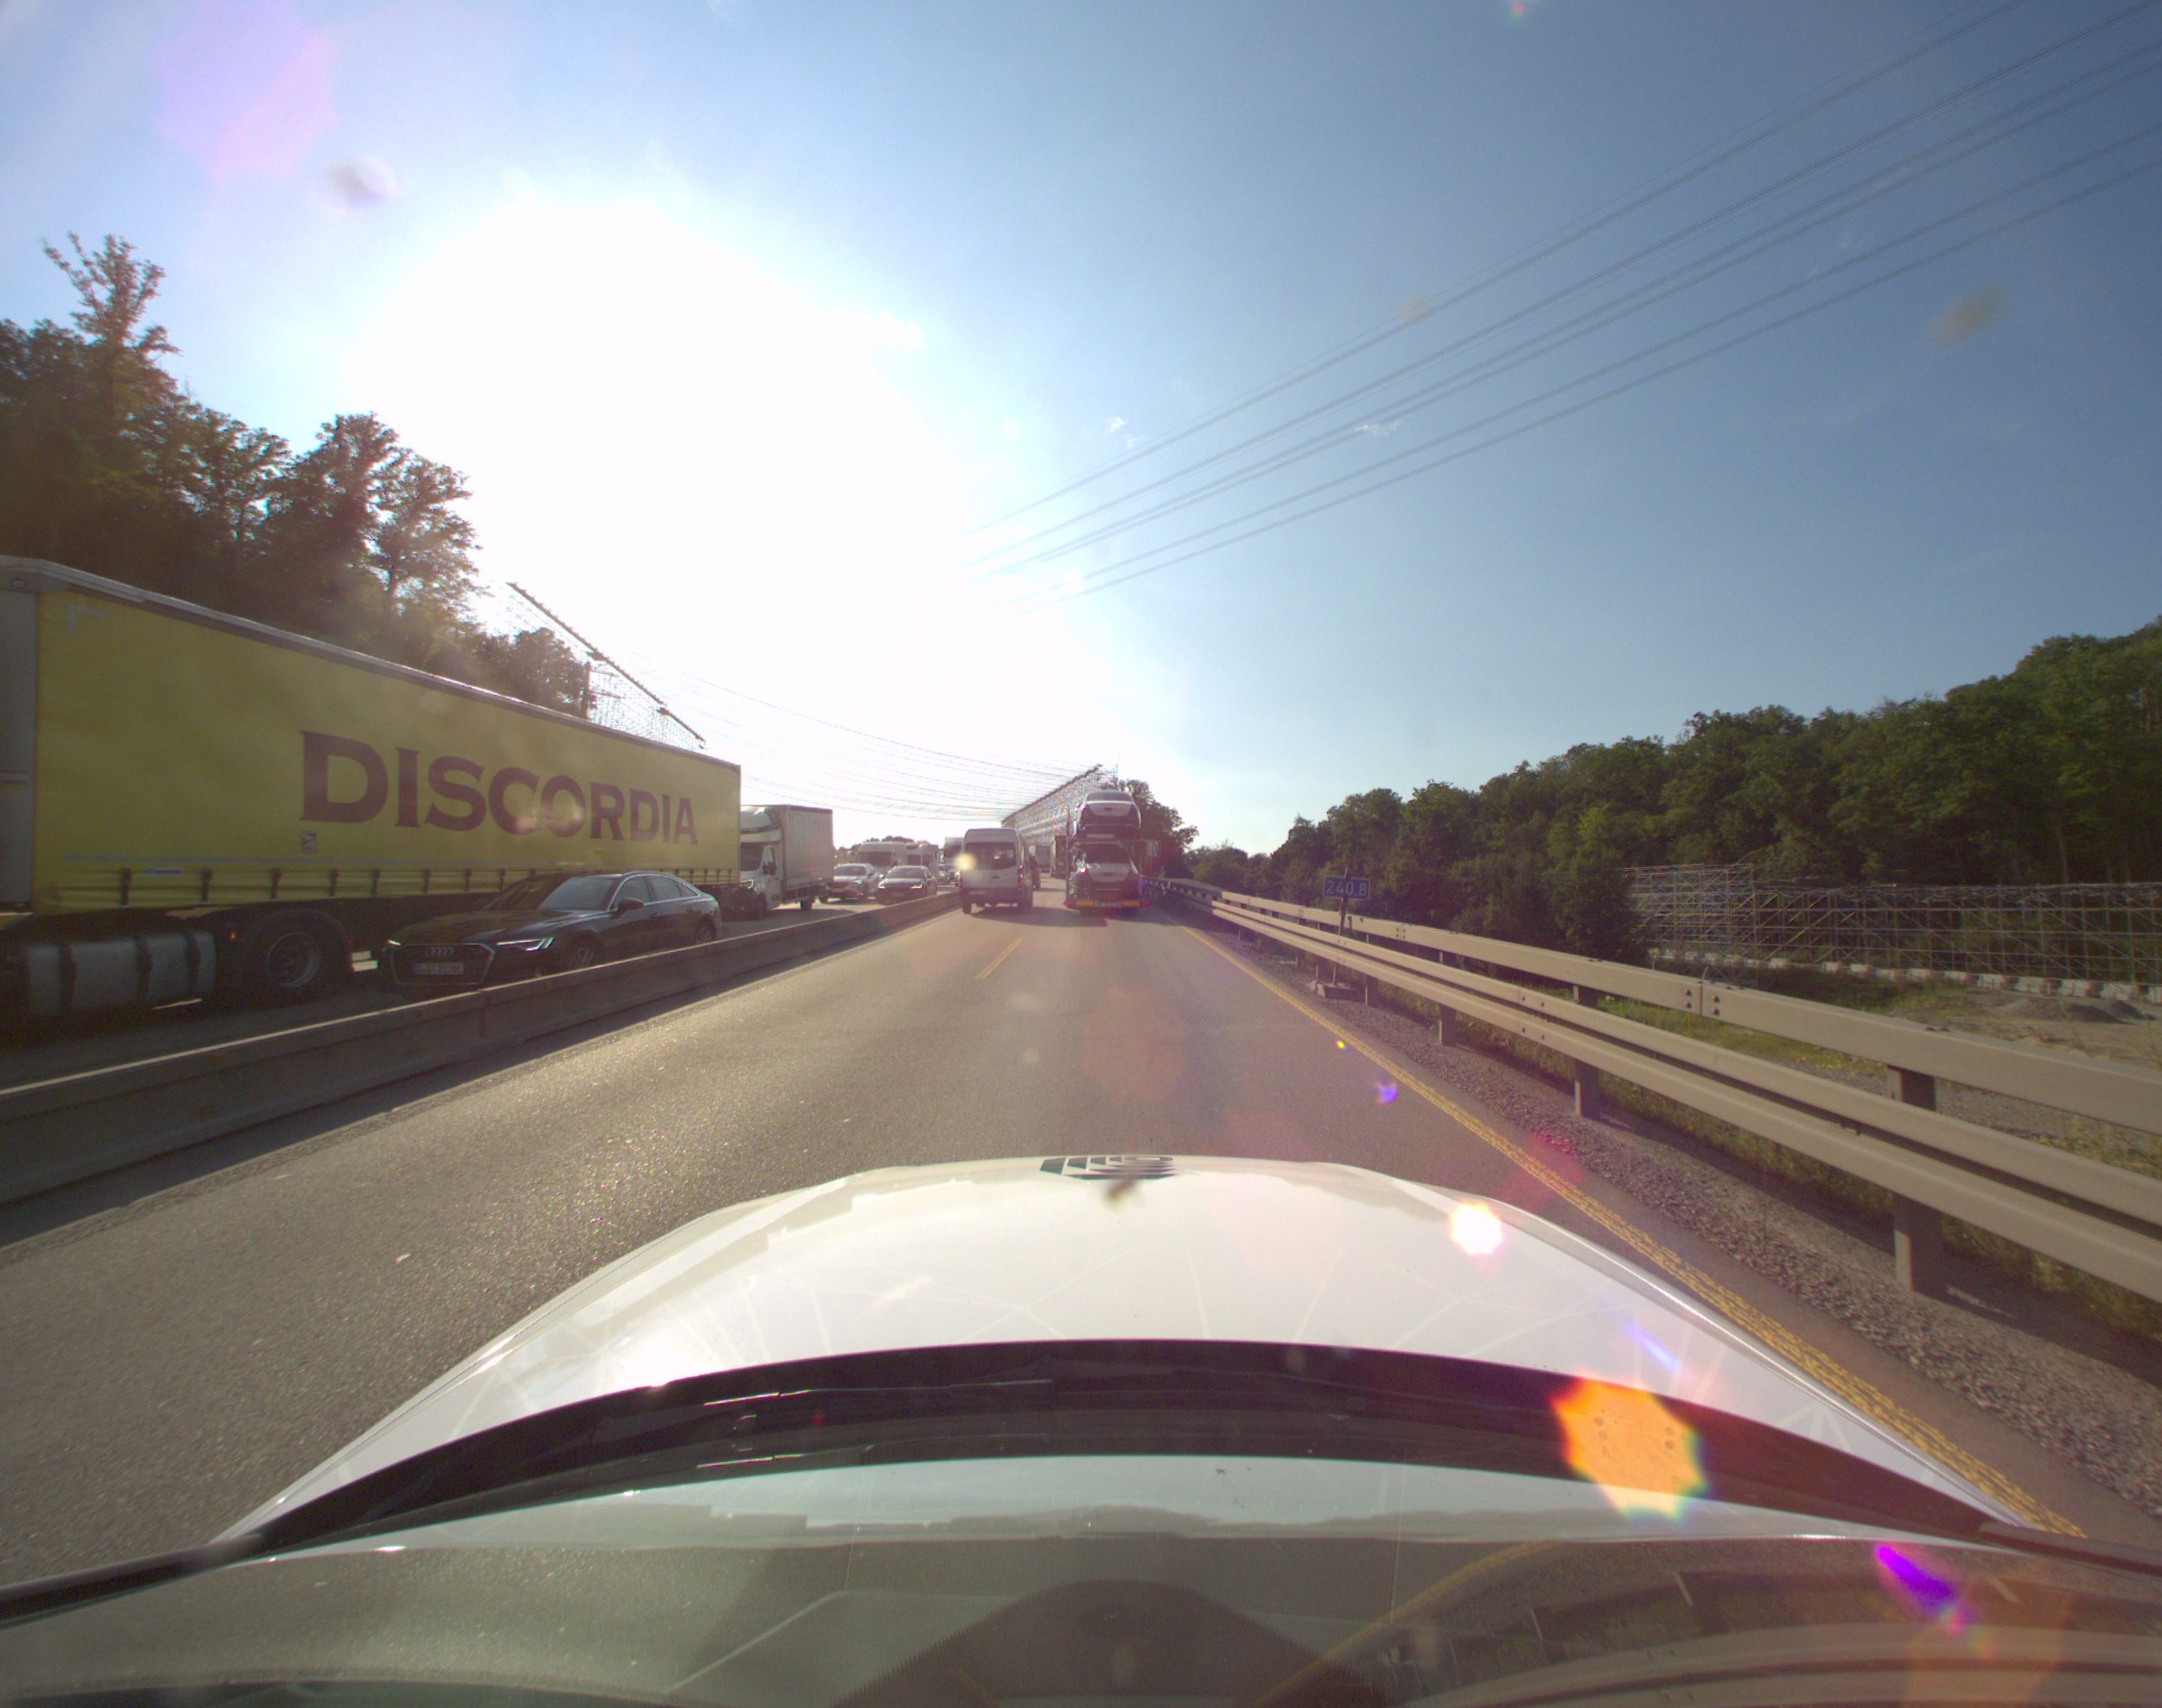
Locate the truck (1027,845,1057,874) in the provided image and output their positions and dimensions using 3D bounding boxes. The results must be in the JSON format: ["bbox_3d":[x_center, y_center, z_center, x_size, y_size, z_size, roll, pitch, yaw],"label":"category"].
[{"bbox_3d":[-6.244,0.837,128.575,3.683,4.220,13.638,-3,0,-6],"label":"truck"}]

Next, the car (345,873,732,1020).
[{"bbox_3d":[-6.433,0.976,10.497,1.802,1.426,4.673,0,-1,0],"label":"car"}]

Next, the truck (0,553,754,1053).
[{"bbox_3d":[-9.732,-0.296,13.718,2.699,4.088,14.150,-1,-1,0],"label":"truck"}]

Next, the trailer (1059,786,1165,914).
[{"bbox_3d":[0.713,-0.009,31.216,2.862,3.725,14.931,0,-1,-2],"label":"trailer"}]

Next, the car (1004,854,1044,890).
[{"bbox_3d":[-3.319,1.042,48.201,1.986,2.014,4.000,0,-1,1],"label":"car"}]

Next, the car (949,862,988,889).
[{"bbox_3d":[-7.441,1.398,54.308,2.053,1.487,4.722,-3,0,-2],"label":"car"}]

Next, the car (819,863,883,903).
[{"bbox_3d":[-9.315,1.157,33.234,1.760,1.523,3.995,0,-1,-5],"label":"car"}]

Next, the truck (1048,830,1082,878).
[{"bbox_3d":[-1.707,0.051,80.123,2.727,4.386,11.504,1,0,-4],"label":"truck"}]

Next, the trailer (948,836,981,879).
[{"bbox_3d":[-12.165,0.412,86.106,2.717,4.218,13.721,0,-1,-5],"label":"trailer"}]

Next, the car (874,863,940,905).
[{"bbox_3d":[-6.753,1.134,31.992,1.648,1.523,4.286,0,-1,0],"label":"car"}]

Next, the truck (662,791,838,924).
[{"bbox_3d":[-9.805,0.130,25.145,2.440,3.463,7.612,0,-1,-1],"label":"truck"}]

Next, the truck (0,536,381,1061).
[{"bbox_3d":[-9.761,-0.412,6.692,2.704,4.088,6.100,-1,-1,0],"label":"truck"}]

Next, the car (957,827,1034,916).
[{"bbox_3d":[-2.657,0.560,26.137,1.950,2.621,4.000,-1,-1,1],"label":"car"}]

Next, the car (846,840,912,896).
[{"bbox_3d":[-10.145,0.717,41.367,1.951,2.621,5.745,-1,-1,-1],"label":"car"}]

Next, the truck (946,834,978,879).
[{"bbox_3d":[-11.539,0.315,79.347,2.709,4.218,5.671,0,-1,-6],"label":"truck"}]

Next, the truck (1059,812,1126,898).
[{"bbox_3d":[0.418,0.088,38.994,2.874,3.702,7.319,0,-1,-2],"label":"truck"}]

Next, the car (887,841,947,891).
[{"bbox_3d":[-10.326,0.784,51.921,2.327,2.918,7.628,-1,-1,-1],"label":"car"}]
